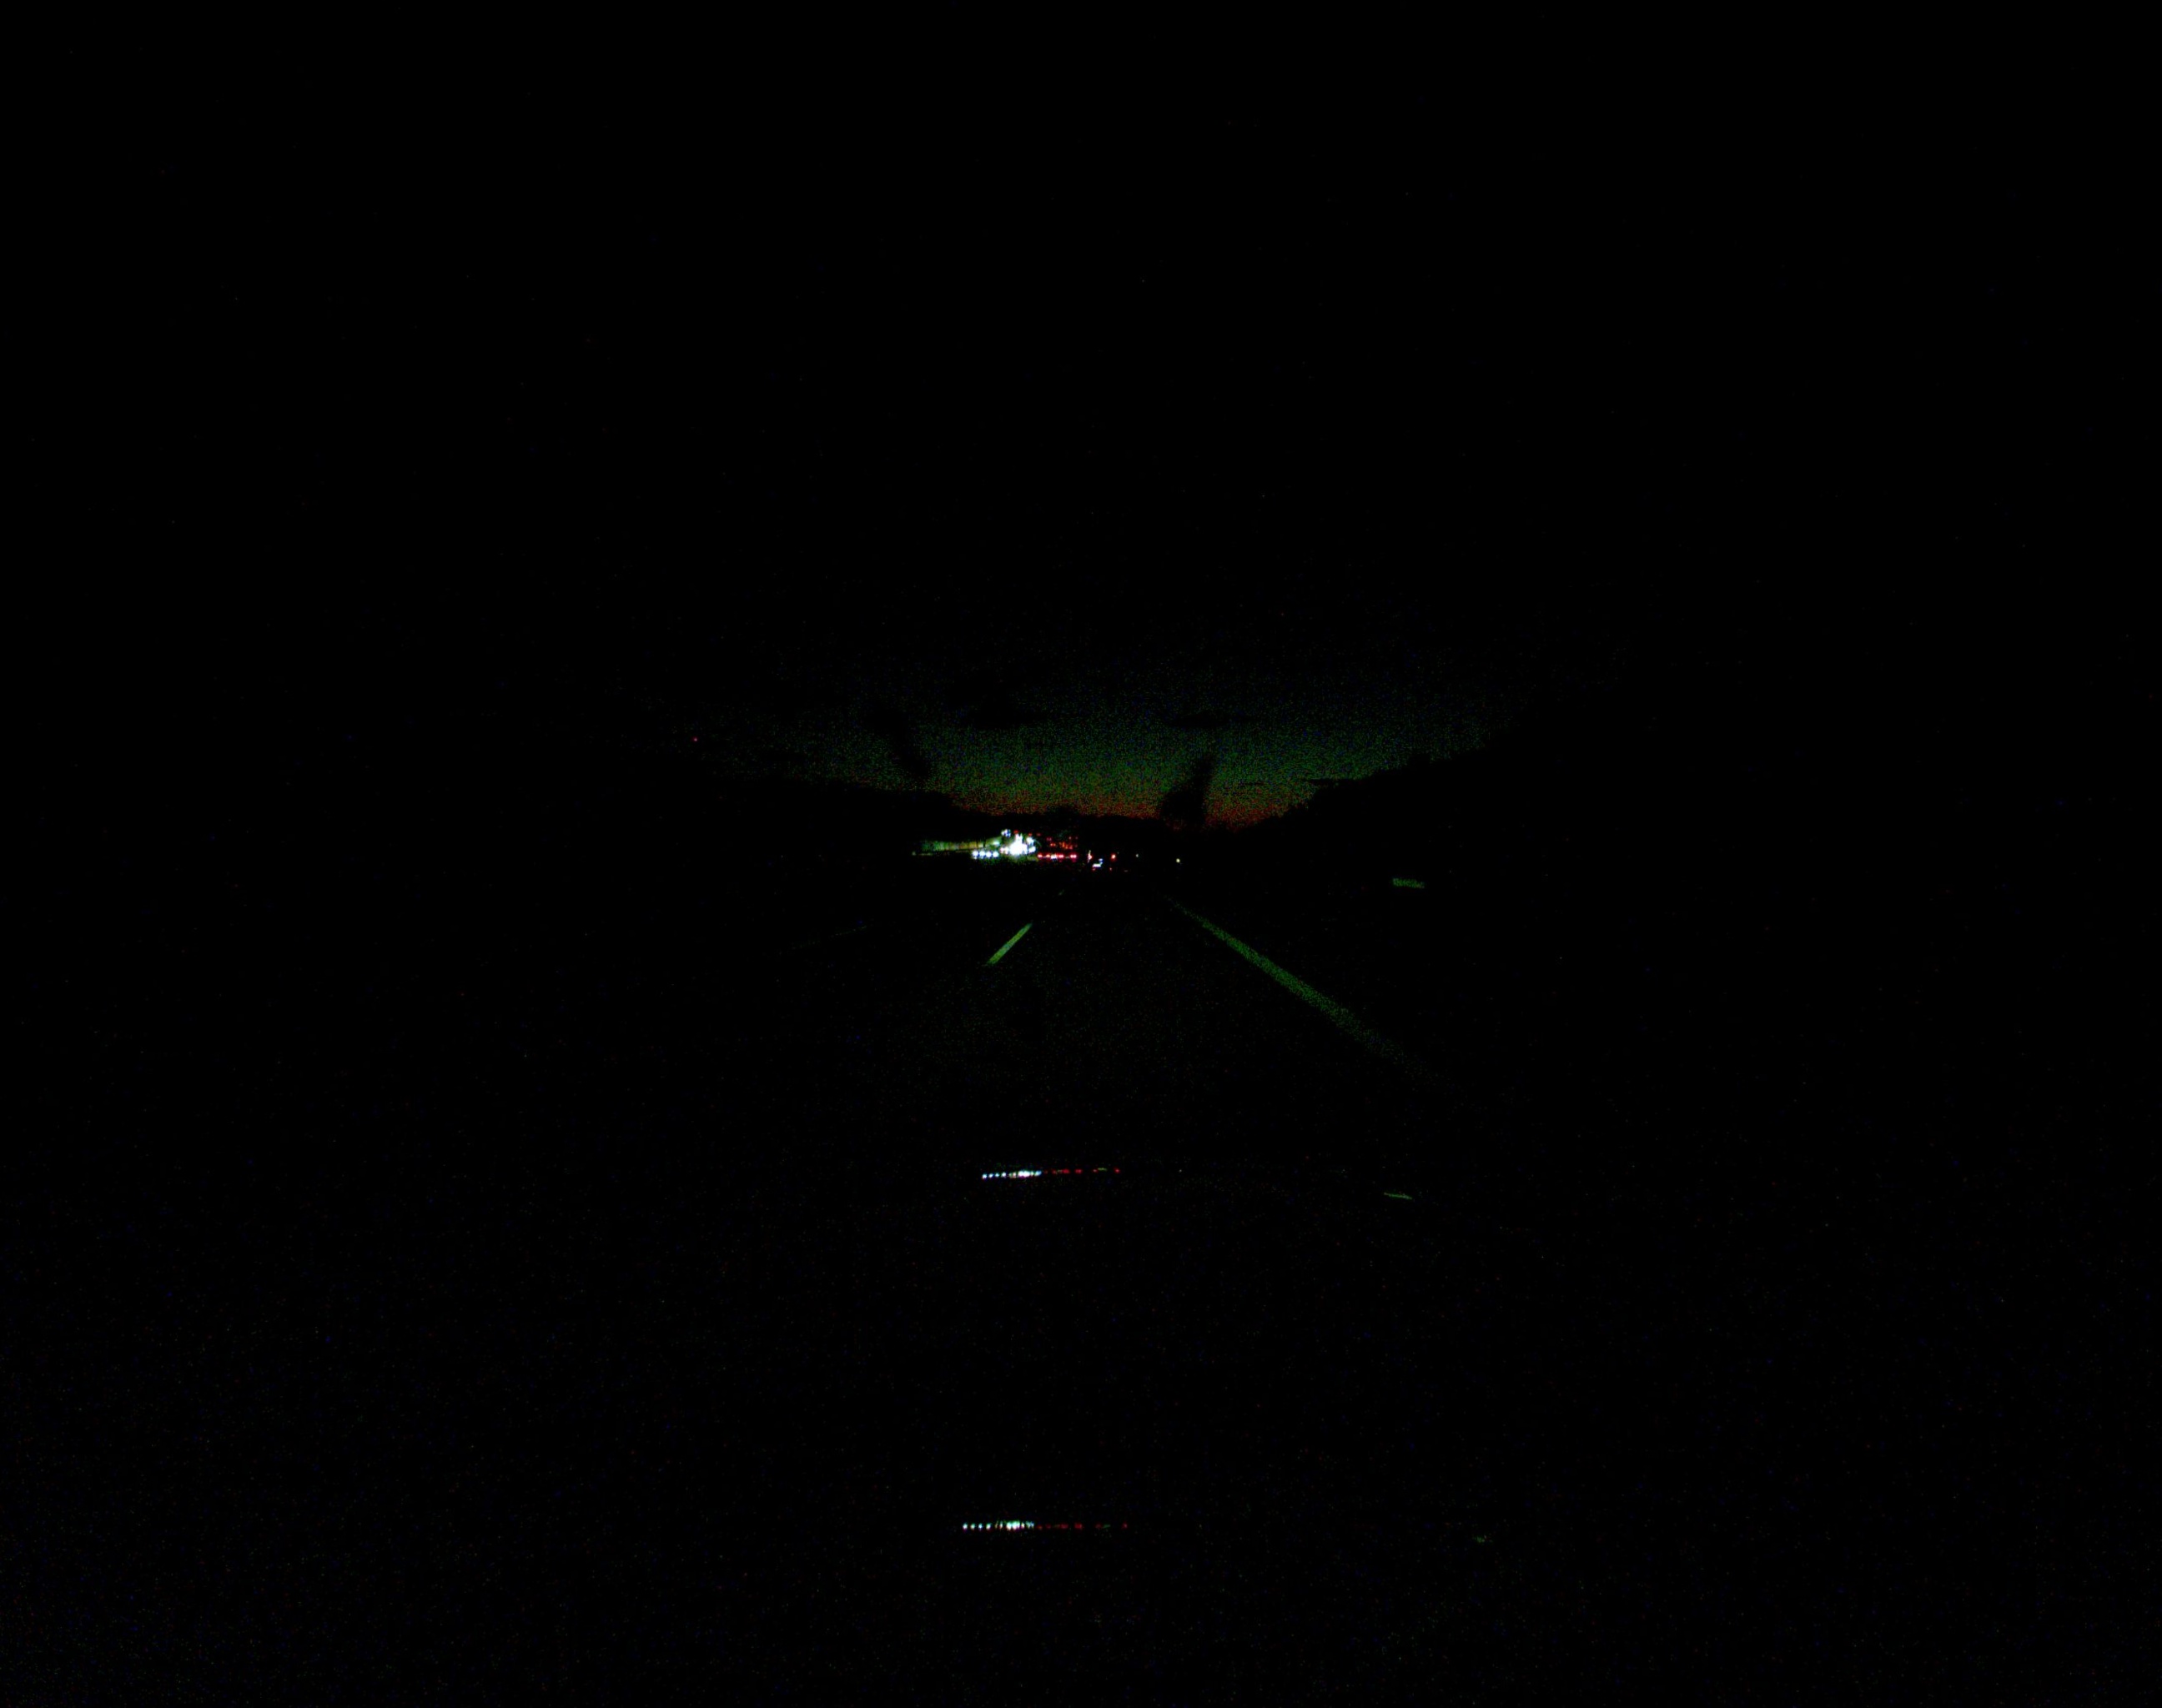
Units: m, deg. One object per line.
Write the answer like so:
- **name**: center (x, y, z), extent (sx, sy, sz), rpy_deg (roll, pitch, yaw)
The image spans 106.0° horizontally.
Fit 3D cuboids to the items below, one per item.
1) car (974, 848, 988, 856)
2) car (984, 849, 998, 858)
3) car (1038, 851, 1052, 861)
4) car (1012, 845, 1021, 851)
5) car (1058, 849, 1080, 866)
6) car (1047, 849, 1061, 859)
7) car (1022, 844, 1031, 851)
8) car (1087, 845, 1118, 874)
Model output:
- **car**: center (-21.259, -0.387, 173.512), extent (2.097, 1.688, 5.387), rpy_deg (0, 0, 1)
- **car**: center (-17.686, -0.144, 160.245), extent (2.097, 1.789, 4.659), rpy_deg (0, 0, 1)
- **car**: center (-5.219, 0.368, 119.441), extent (1.543, 1.431, 5.517), rpy_deg (-1, -1, 2)
- **car**: center (-18.372, -1.812, 233.682), extent (2.097, 1.789, 4.870), rpy_deg (0, 1, 1)
- **car**: center (-1.279, 0.398, 86.953), extent (1.986, 1.721, 5.945), rpy_deg (-1, -1, 2)
- **car**: center (-4.352, -0.041, 131.780), extent (1.772, 1.487, 5.257), rpy_deg (-2, 1, 3)
- **car**: center (-15.015, -1.810, 226.217), extent (2.097, 1.789, 4.320), rpy_deg (0, 0, 1)
- **car**: center (1.540, 0.354, 59.621), extent (2.189, 1.955, 4.764), rpy_deg (-1, 0, 1)
